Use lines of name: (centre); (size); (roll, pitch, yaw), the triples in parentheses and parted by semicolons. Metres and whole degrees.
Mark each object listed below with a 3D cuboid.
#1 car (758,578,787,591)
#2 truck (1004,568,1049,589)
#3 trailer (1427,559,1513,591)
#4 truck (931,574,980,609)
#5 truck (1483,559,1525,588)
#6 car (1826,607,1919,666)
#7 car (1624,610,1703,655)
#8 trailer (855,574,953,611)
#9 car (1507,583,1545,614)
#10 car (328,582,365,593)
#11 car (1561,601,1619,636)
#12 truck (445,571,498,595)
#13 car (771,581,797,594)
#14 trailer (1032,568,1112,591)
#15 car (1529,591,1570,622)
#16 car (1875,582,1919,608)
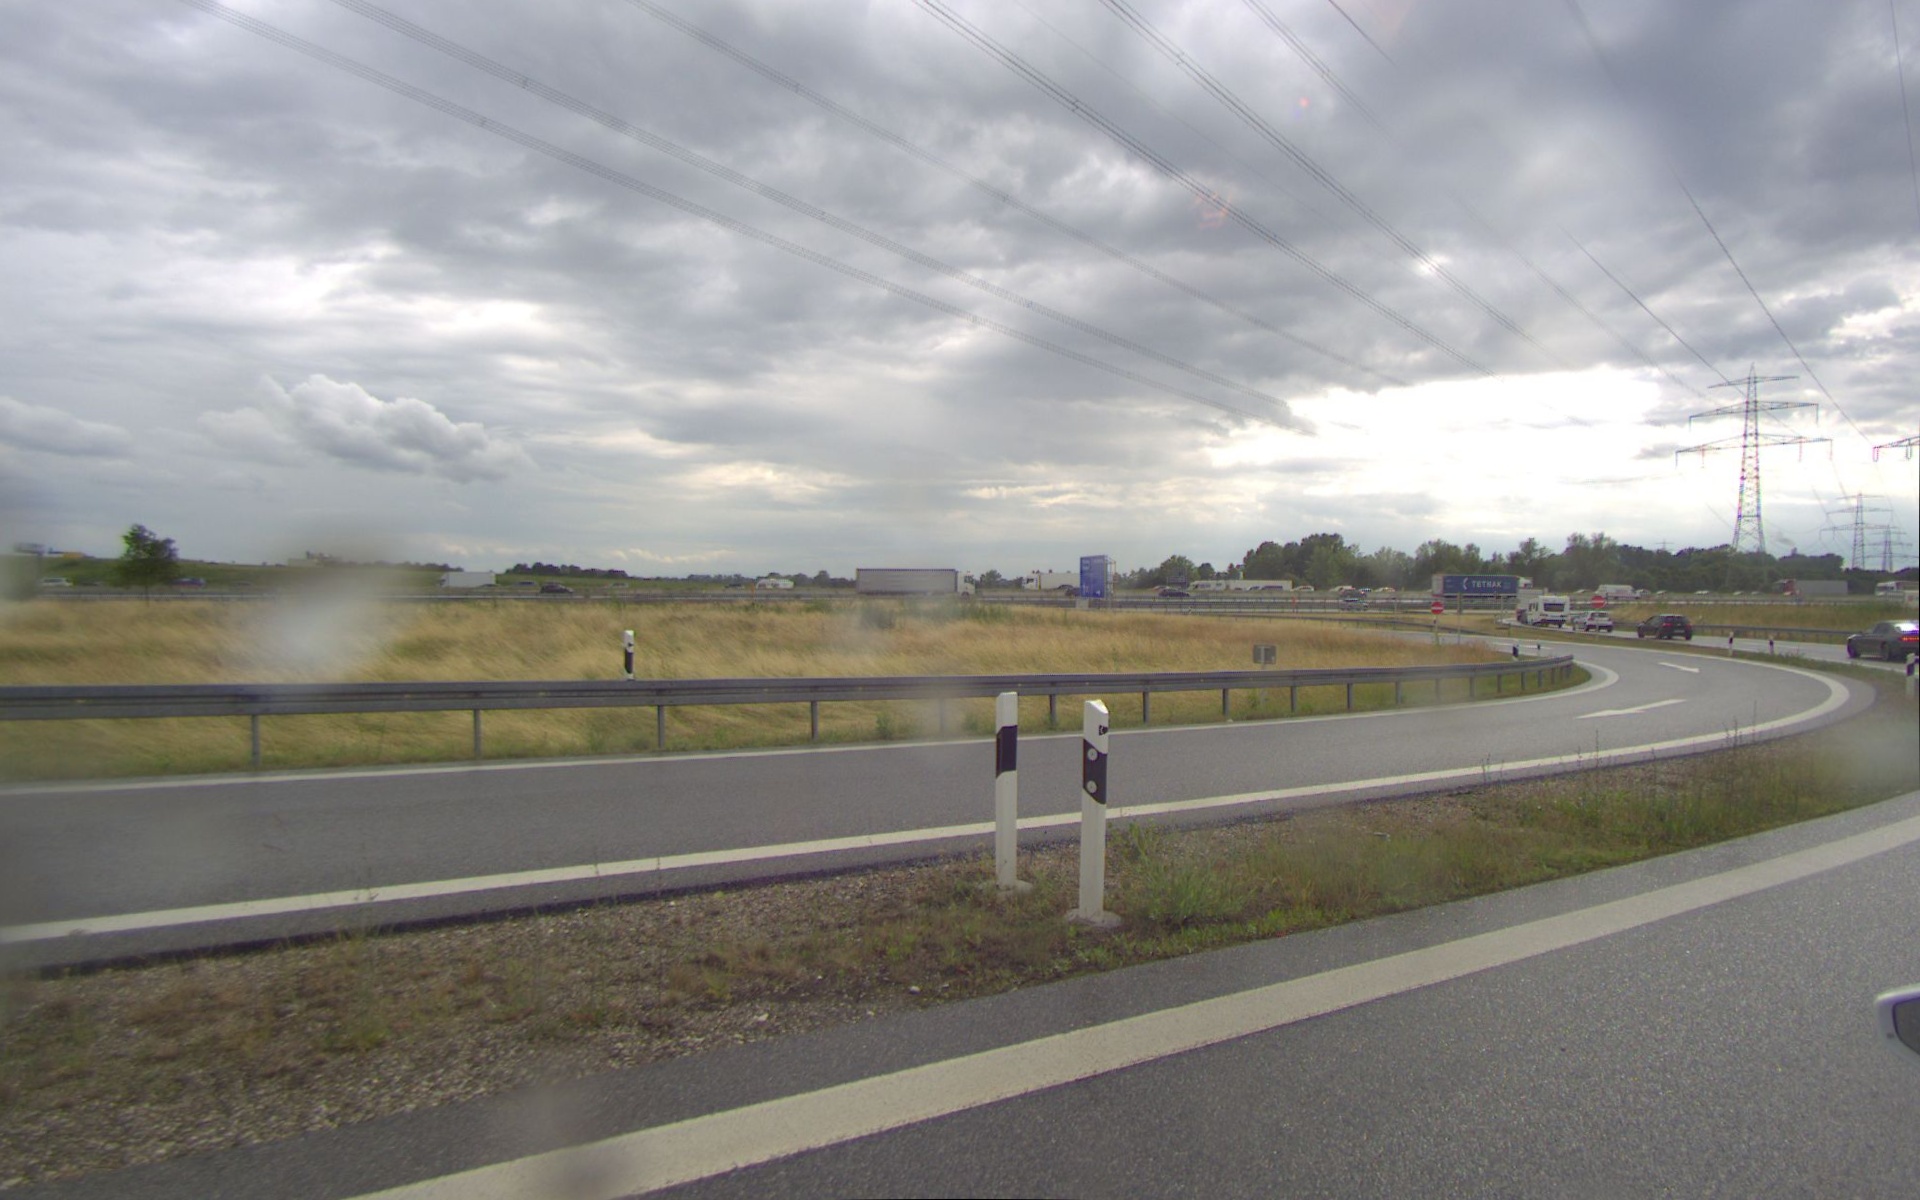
car: (-31.202, -2.544, 167.052); (4.670, 2.041, 1.996); (-1, 2, -10)
truck: (11.642, -3.720, 176.141); (7.251, 3.589, 2.818); (0, 2, -12)
trailer: (79.396, -3.867, 156.421); (13.070, 4.699, 3.050); (-1, 2, -13)
truck: (-0.626, -1.173, 139.866); (6.159, 4.628, 3.342); (-1, 2, -13)
truck: (85.493, -4.159, 157.839); (4.985, 4.540, 3.069); (-2, 2, -14)
car: (36.588, 1.370, 39.477); (2.087, 2.045, 5.532); (2, 1, 22)
car: (42.425, 1.904, 60.737); (2.311, 2.338, 5.129); (-1, 2, 15)
trailer: (-7.742, -1.050, 138.386); (13.156, 4.679, 3.475); (-1, 2, -12)
car: (59.931, -0.213, 106.260); (3.093, 2.991, 7.187); (0, 2, 33)
car: (-87.294, -1.755, 143.007); (3.927, 1.413, 1.997); (-1, 2, -9)
car: (47.160, 1.356, 75.316); (2.311, 2.338, 5.129); (-1, 2, 15)
truck: (-76.343, -2.679, 157.122); (6.983, 3.518, 1.995); (-1, 2, -12)
car: (-27.315, -1.936, 156.119); (3.927, 1.874, 1.889); (-1, 2, -9)
trailer: (19.832, -3.640, 177.948); (13.854, 3.721, 2.852); (1, 2, -12)
car: (50.309, 0.525, 85.802); (2.313, 2.338, 5.125); (0, 2, 22)
car: (141.328, -0.717, 149.249); (8.889, 3.659, 3.385); (1, 1, -13)
